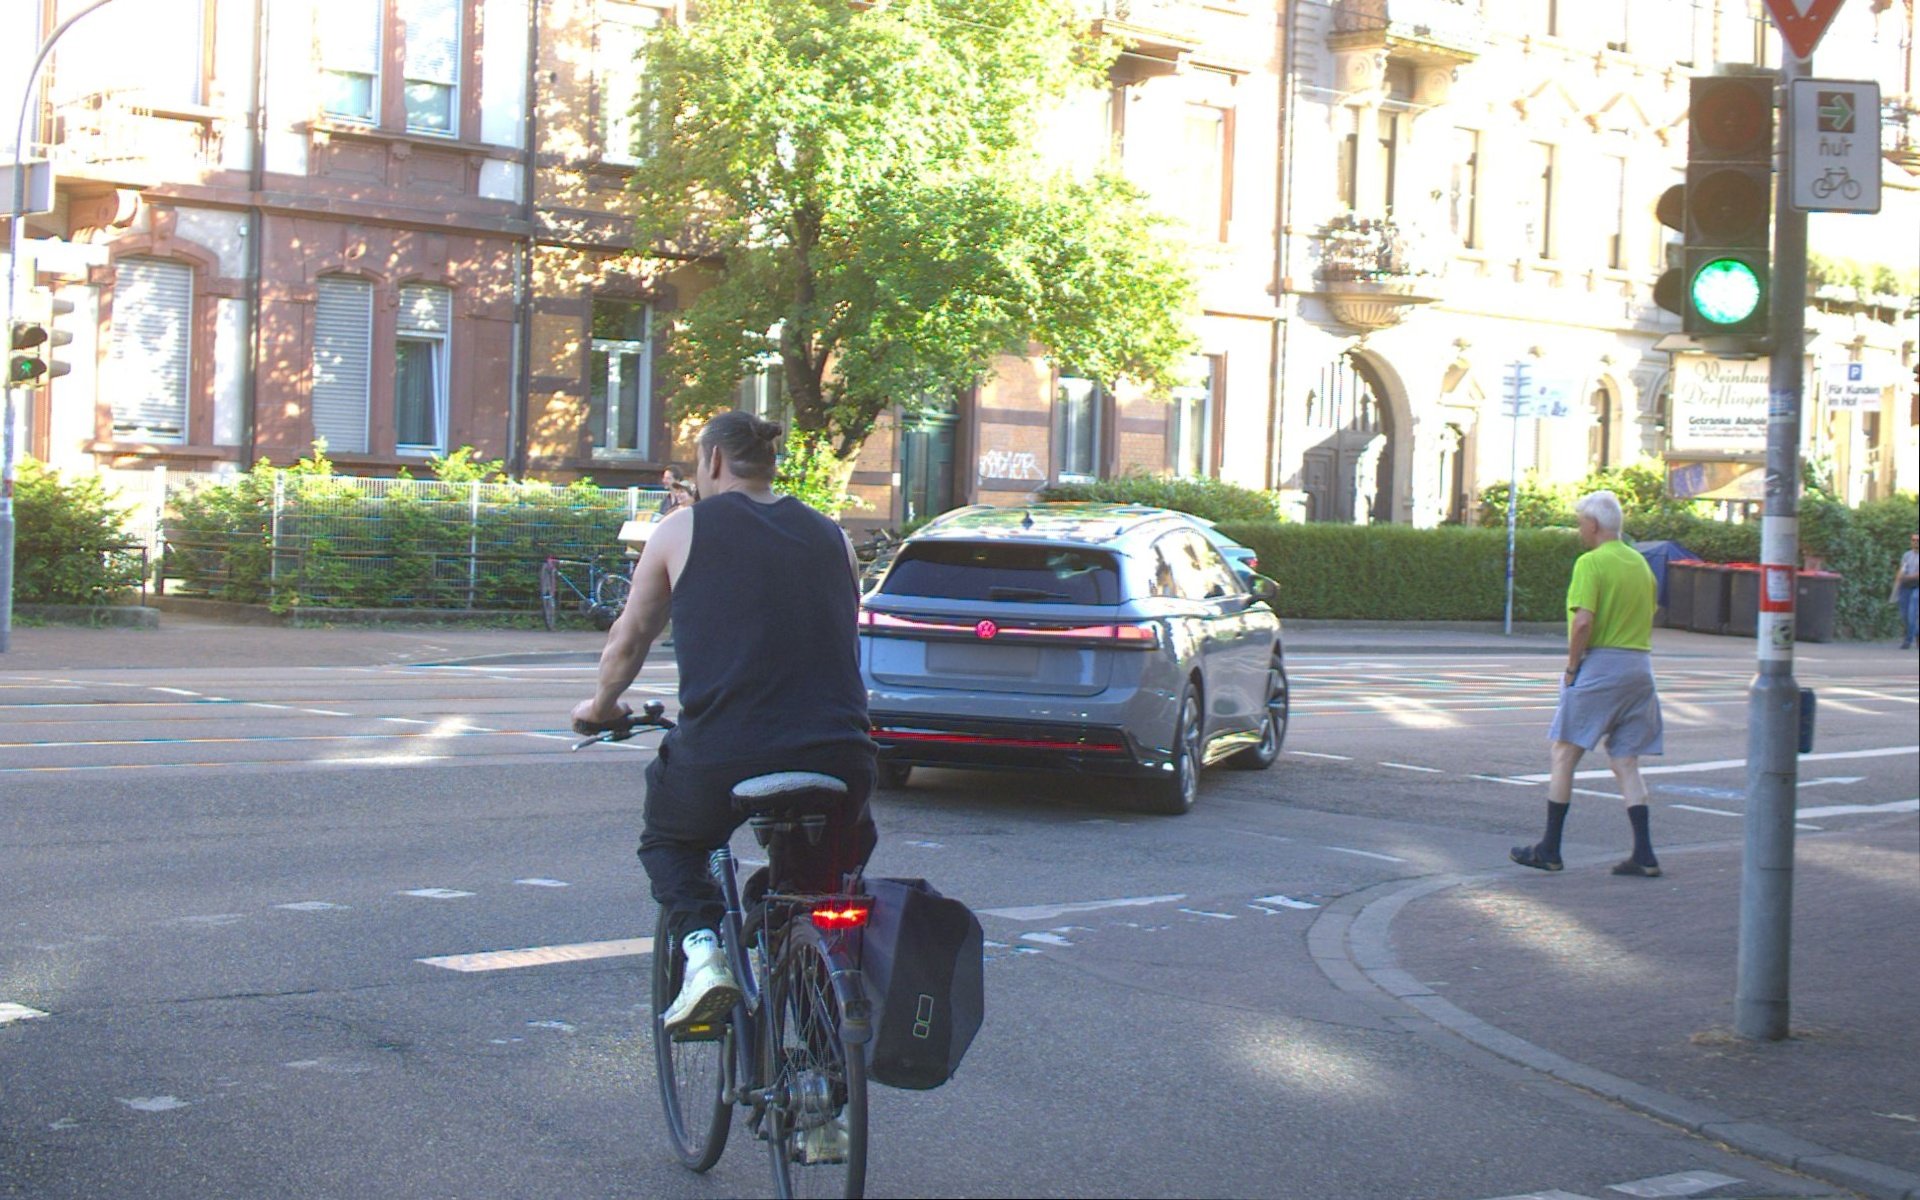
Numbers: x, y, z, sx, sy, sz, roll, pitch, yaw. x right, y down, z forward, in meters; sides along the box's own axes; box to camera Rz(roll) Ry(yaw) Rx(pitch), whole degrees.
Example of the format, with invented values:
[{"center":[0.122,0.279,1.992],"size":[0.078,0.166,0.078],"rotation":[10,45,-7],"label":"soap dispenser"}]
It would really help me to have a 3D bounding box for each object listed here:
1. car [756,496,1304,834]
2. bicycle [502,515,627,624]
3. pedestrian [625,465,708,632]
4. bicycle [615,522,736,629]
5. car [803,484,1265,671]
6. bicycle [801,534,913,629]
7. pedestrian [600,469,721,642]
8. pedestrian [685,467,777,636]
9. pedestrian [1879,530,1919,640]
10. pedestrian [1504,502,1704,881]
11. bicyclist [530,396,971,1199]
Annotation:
[{"center":[0.539,0.277,19.119],"size":[1.971,1.580,4.472],"rotation":[2,1,15],"label":"car"},{"center":[-4.156,-0.315,36.160],"size":[1.230,1.103,0.443],"rotation":[1,3,-41],"label":"bicycle"},{"center":[-3.059,-0.541,35.833],"size":[0.634,1.709,0.521],"rotation":[1,1,-34],"label":"pedestrian"},{"center":[-3.067,-0.260,37.073],"size":[1.230,1.103,0.443],"rotation":[1,3,-41],"label":"bicycle"},{"center":[0.773,-0.209,33.163],"size":[1.947,1.644,4.399],"rotation":[3,2,44],"label":"car"},{"center":[-1.159,-0.209,38.838],"size":[1.230,1.035,0.443],"rotation":[1,3,-42],"label":"bicycle"},{"center":[-2.989,-0.445,34.295],"size":[0.895,1.659,0.712],"rotation":[2,4,-30],"label":"pedestrian"},{"center":[-2.365,-0.504,35.497],"size":[0.634,1.709,0.664],"rotation":[1,1,-34],"label":"pedestrian"},{"center":[14.351,-0.226,52.186],"size":[0.494,1.635,0.526],"rotation":[1,2,-35],"label":"pedestrian"},{"center":[3.020,0.405,16.172],"size":[0.642,1.721,0.889],"rotation":[-1,2,-11],"label":"pedestrian"},{"center":[-0.469,0.418,7.298],"size":[0.686,1.650,0.990],"rotation":[1,1,-18],"label":"bicyclist"}]
